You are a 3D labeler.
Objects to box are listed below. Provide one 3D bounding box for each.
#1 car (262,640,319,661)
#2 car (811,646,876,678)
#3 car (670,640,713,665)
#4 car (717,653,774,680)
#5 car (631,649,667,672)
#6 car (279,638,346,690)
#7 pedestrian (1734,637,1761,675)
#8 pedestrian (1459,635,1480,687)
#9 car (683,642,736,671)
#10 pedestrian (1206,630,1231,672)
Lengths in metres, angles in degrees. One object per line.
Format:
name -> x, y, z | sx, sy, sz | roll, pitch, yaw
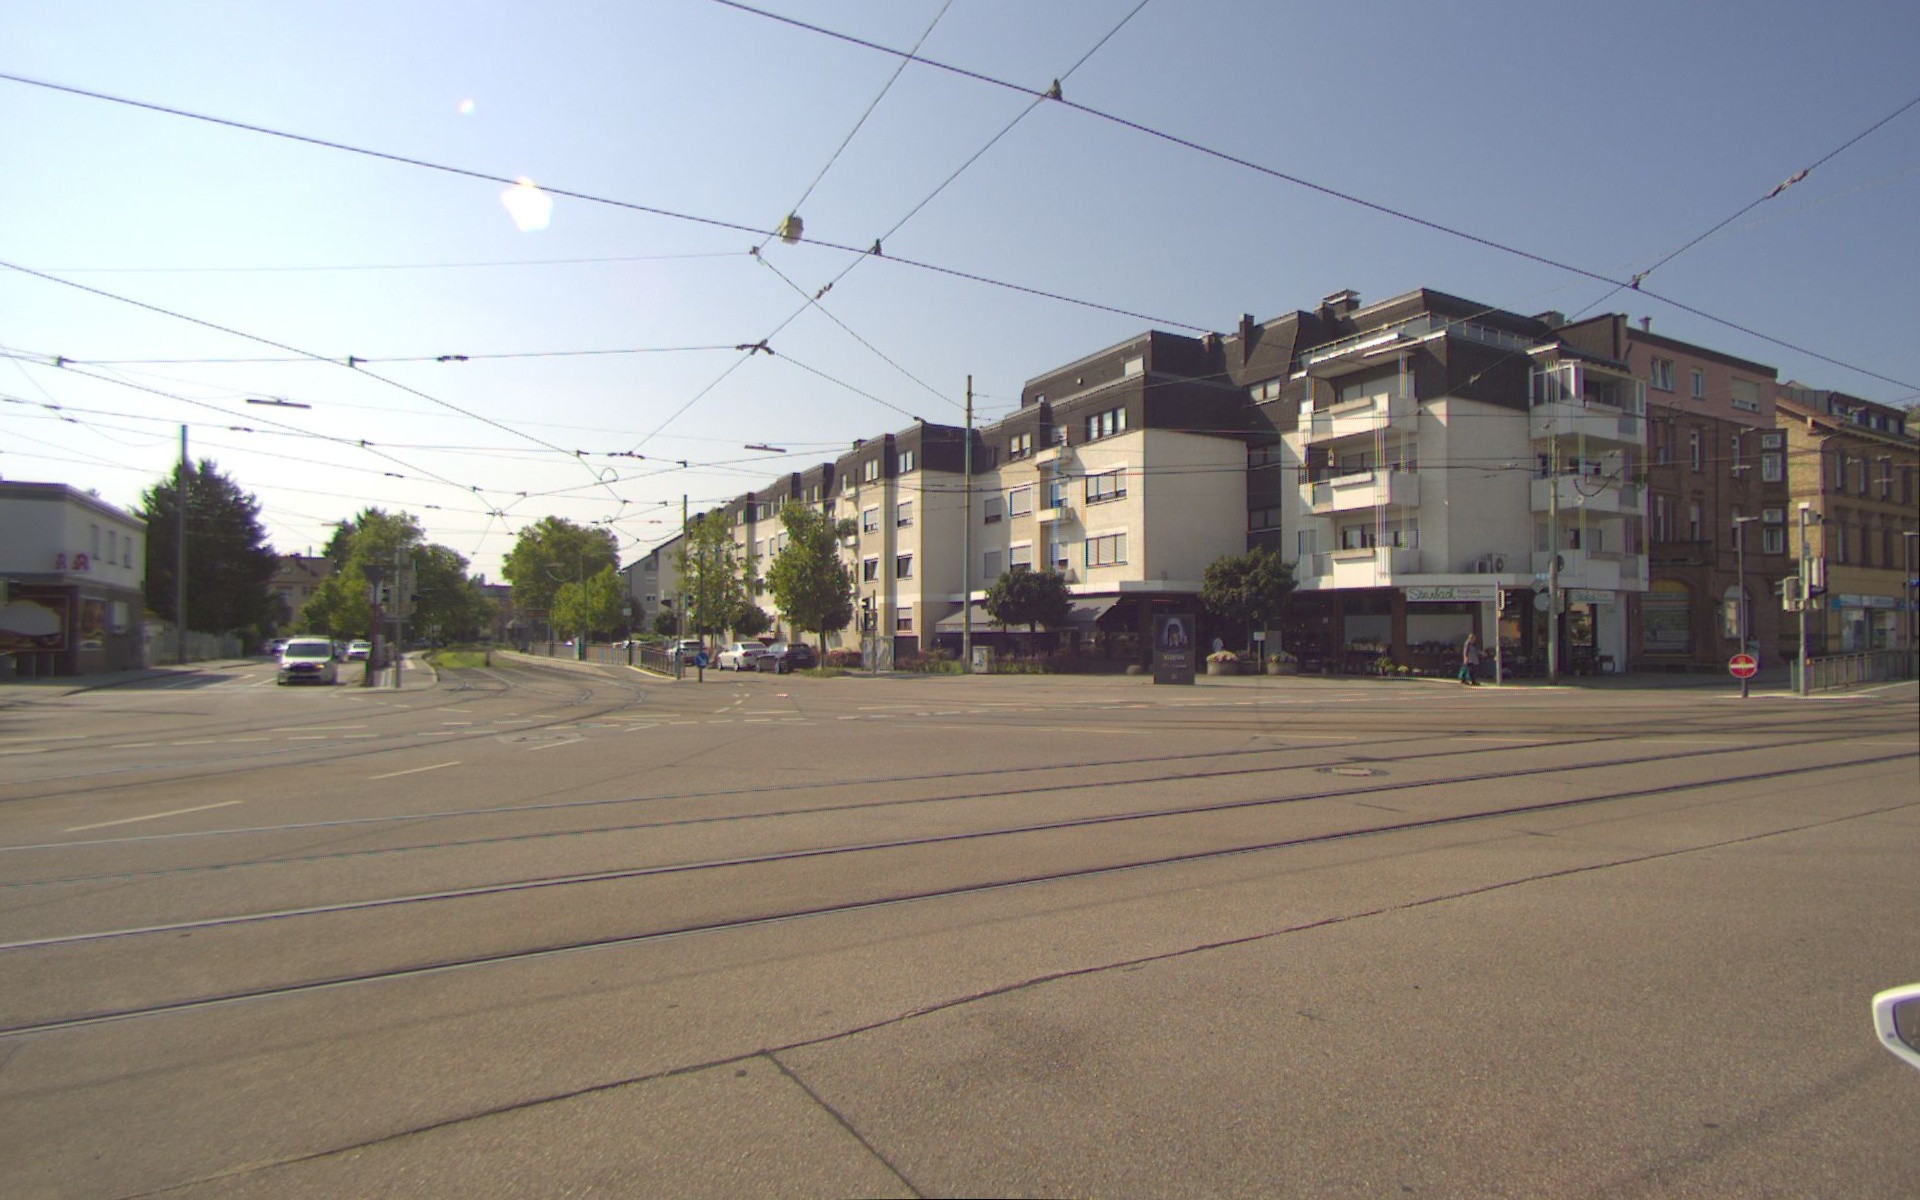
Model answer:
car -> -58.512, 4.450, 87.895 | 3.953, 1.794, 1.985 | 2, -5, -30
car -> -6.114, 3.218, 52.335 | 1.907, 1.527, 4.090 | 2, -2, -30
car -> -17.037, 3.357, 63.640 | 1.653, 1.500, 3.889 | 2, -5, -30
car -> -11.218, 3.472, 52.335 | 1.655, 1.316, 4.088 | 2, -5, -32
car -> -23.496, 4.614, 75.896 | 1.974, 1.674, 3.974 | 1, -5, -27
car -> -25.226, 2.434, 39.255 | 1.800, 1.911, 3.999 | 1, -2, -27
pedestrian -> 33.467, 2.391, 42.683 | 0.873, 1.580, 0.482 | 2, -2, -19
pedestrian -> 17.464, 2.096, 34.435 | 0.589, 1.767, 0.565 | -3, -4, 27
car -> -14.396, 3.277, 57.602 | 1.848, 1.554, 4.351 | 2, -5, -30
pedestrian -> 10.822, 2.141, 42.074 | 0.689, 1.763, 0.677 | 1, -4, -28
